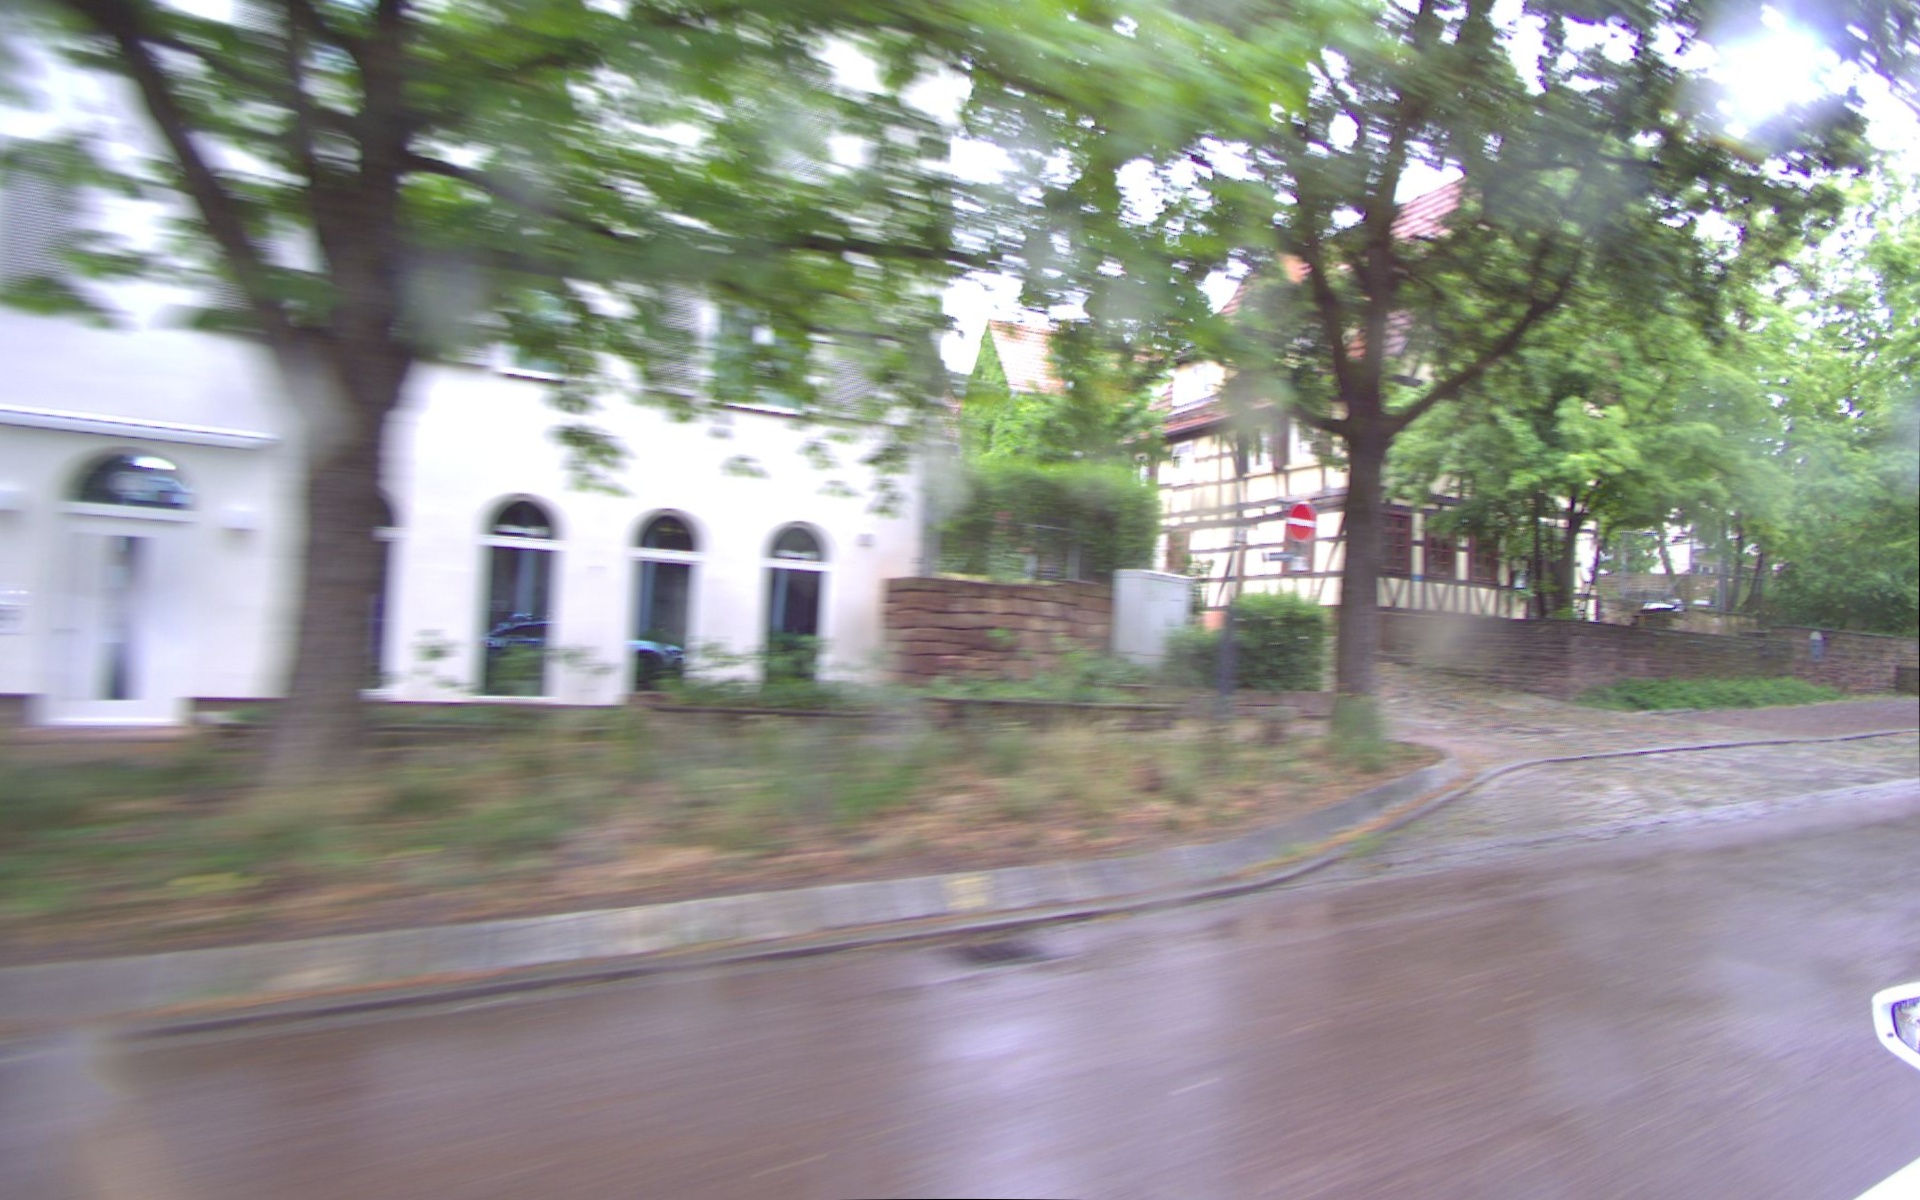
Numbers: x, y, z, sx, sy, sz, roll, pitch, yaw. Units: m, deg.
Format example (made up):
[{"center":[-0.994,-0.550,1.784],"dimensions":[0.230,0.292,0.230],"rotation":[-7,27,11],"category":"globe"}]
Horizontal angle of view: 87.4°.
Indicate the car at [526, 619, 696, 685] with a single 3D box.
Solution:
[{"center":[-8.617,1.314,24.894],"dimensions":[3.609,1.361,1.599],"rotation":[4,3,-38],"category":"car"}]
